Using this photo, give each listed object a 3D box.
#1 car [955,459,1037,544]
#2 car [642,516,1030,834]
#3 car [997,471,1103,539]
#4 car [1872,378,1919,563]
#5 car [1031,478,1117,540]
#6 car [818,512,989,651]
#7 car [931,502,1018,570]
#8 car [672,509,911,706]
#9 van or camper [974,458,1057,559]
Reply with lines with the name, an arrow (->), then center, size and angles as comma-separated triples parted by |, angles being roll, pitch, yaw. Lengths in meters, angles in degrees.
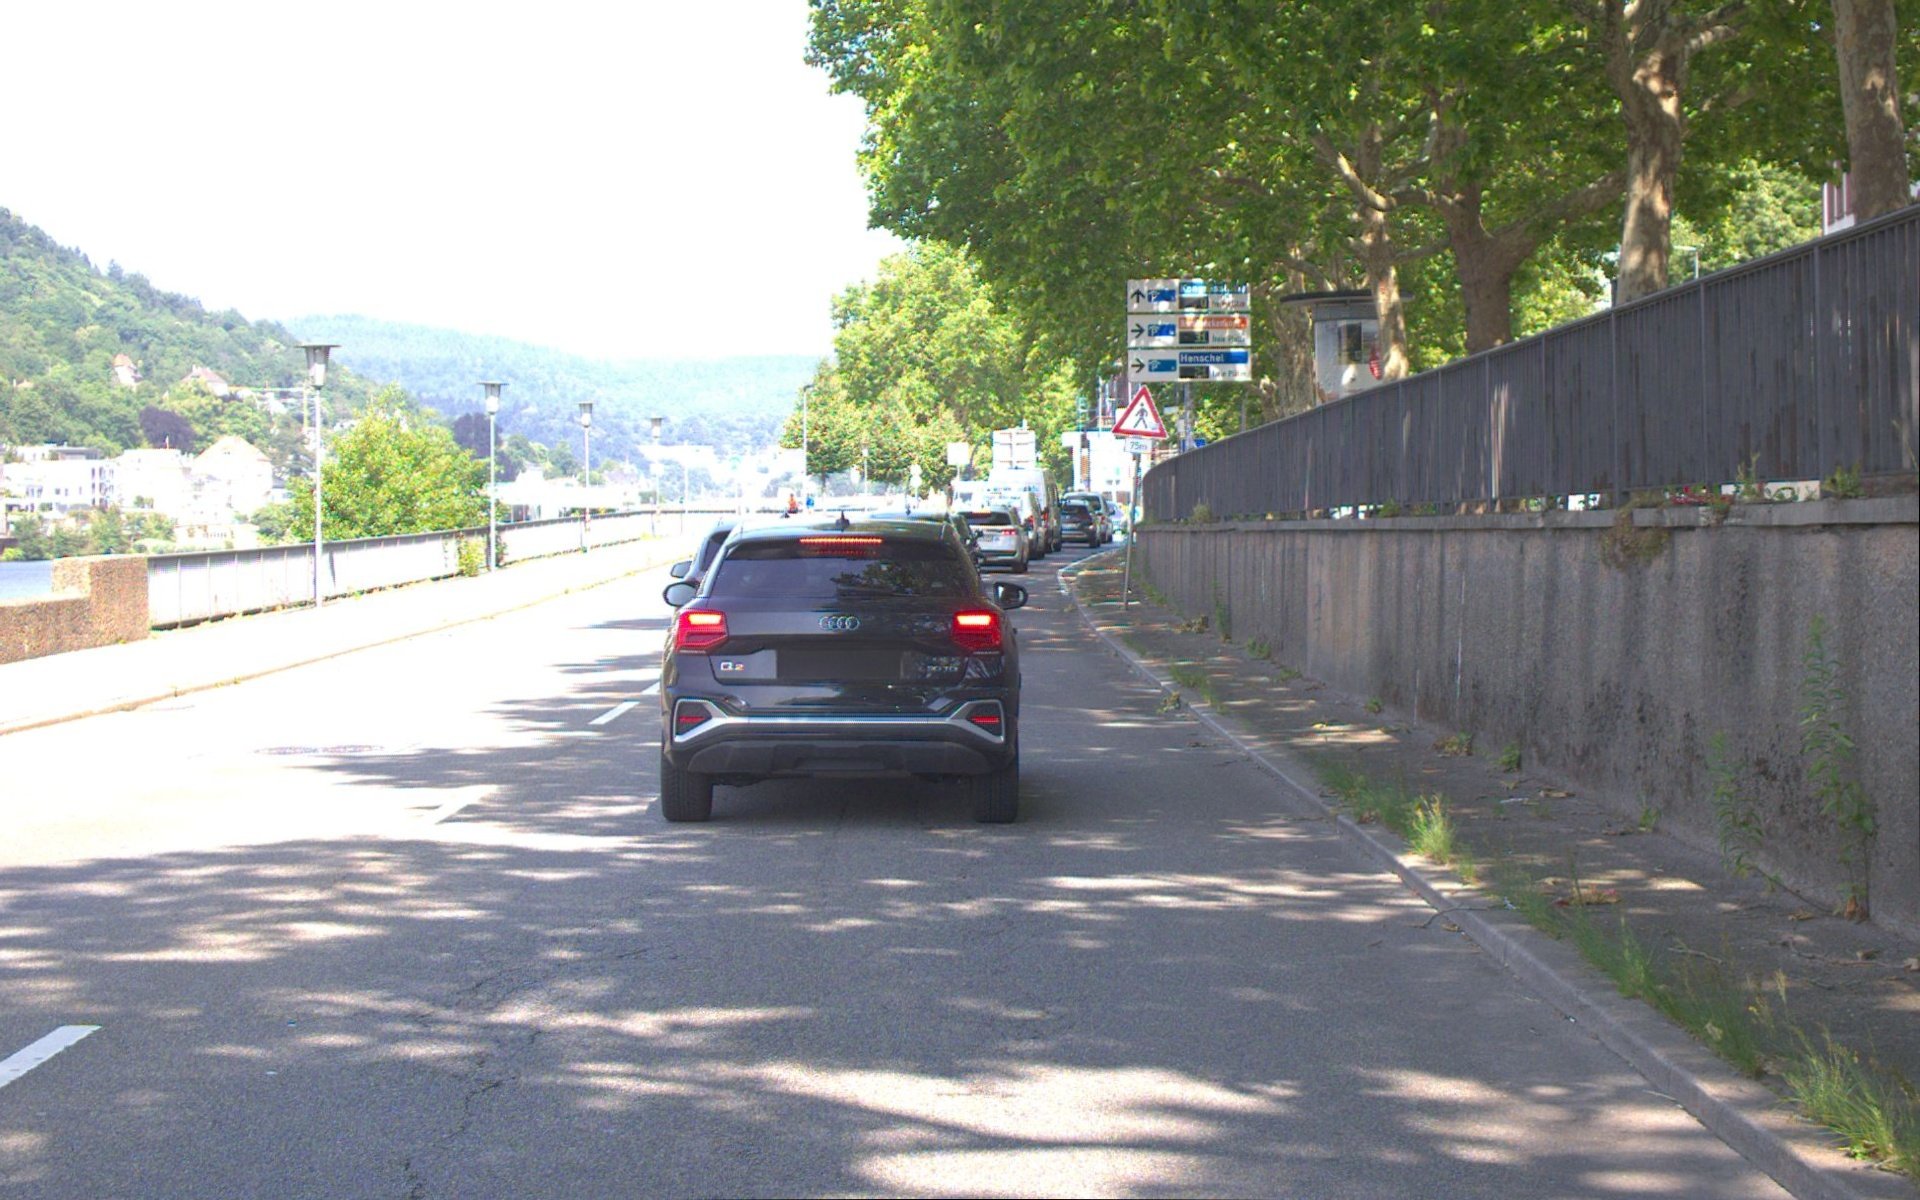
car -> 0.957, -2.653, 93.148 | 1.993, 2.162, 4.000 | -3, 1, -1
car -> -0.628, 0.309, 18.307 | 1.828, 1.481, 4.001 | 0, 2, -1
car -> 2.913, -3.122, 112.996 | 3.098, 2.006, 5.825 | -3, 2, -1
car -> 8.997, -1.062, 28.750 | 1.777, 1.464, 3.994 | 1, 2, 28
car -> 4.048, -3.263, 123.012 | 2.661, 2.006, 5.825 | -3, 2, -1
car -> -0.645, -0.245, 39.106 | 1.828, 1.481, 4.001 | 0, 2, -1
car -> 0.289, -1.439, 76.290 | 1.828, 1.439, 4.001 | 0, 2, -1
car -> -1.338, 0.006, 28.535 | 1.828, 1.506, 4.001 | 0, 2, -1
van or camper -> 1.656, -2.716, 102.110 | 2.310, 2.837, 4.246 | -2, 1, 1
